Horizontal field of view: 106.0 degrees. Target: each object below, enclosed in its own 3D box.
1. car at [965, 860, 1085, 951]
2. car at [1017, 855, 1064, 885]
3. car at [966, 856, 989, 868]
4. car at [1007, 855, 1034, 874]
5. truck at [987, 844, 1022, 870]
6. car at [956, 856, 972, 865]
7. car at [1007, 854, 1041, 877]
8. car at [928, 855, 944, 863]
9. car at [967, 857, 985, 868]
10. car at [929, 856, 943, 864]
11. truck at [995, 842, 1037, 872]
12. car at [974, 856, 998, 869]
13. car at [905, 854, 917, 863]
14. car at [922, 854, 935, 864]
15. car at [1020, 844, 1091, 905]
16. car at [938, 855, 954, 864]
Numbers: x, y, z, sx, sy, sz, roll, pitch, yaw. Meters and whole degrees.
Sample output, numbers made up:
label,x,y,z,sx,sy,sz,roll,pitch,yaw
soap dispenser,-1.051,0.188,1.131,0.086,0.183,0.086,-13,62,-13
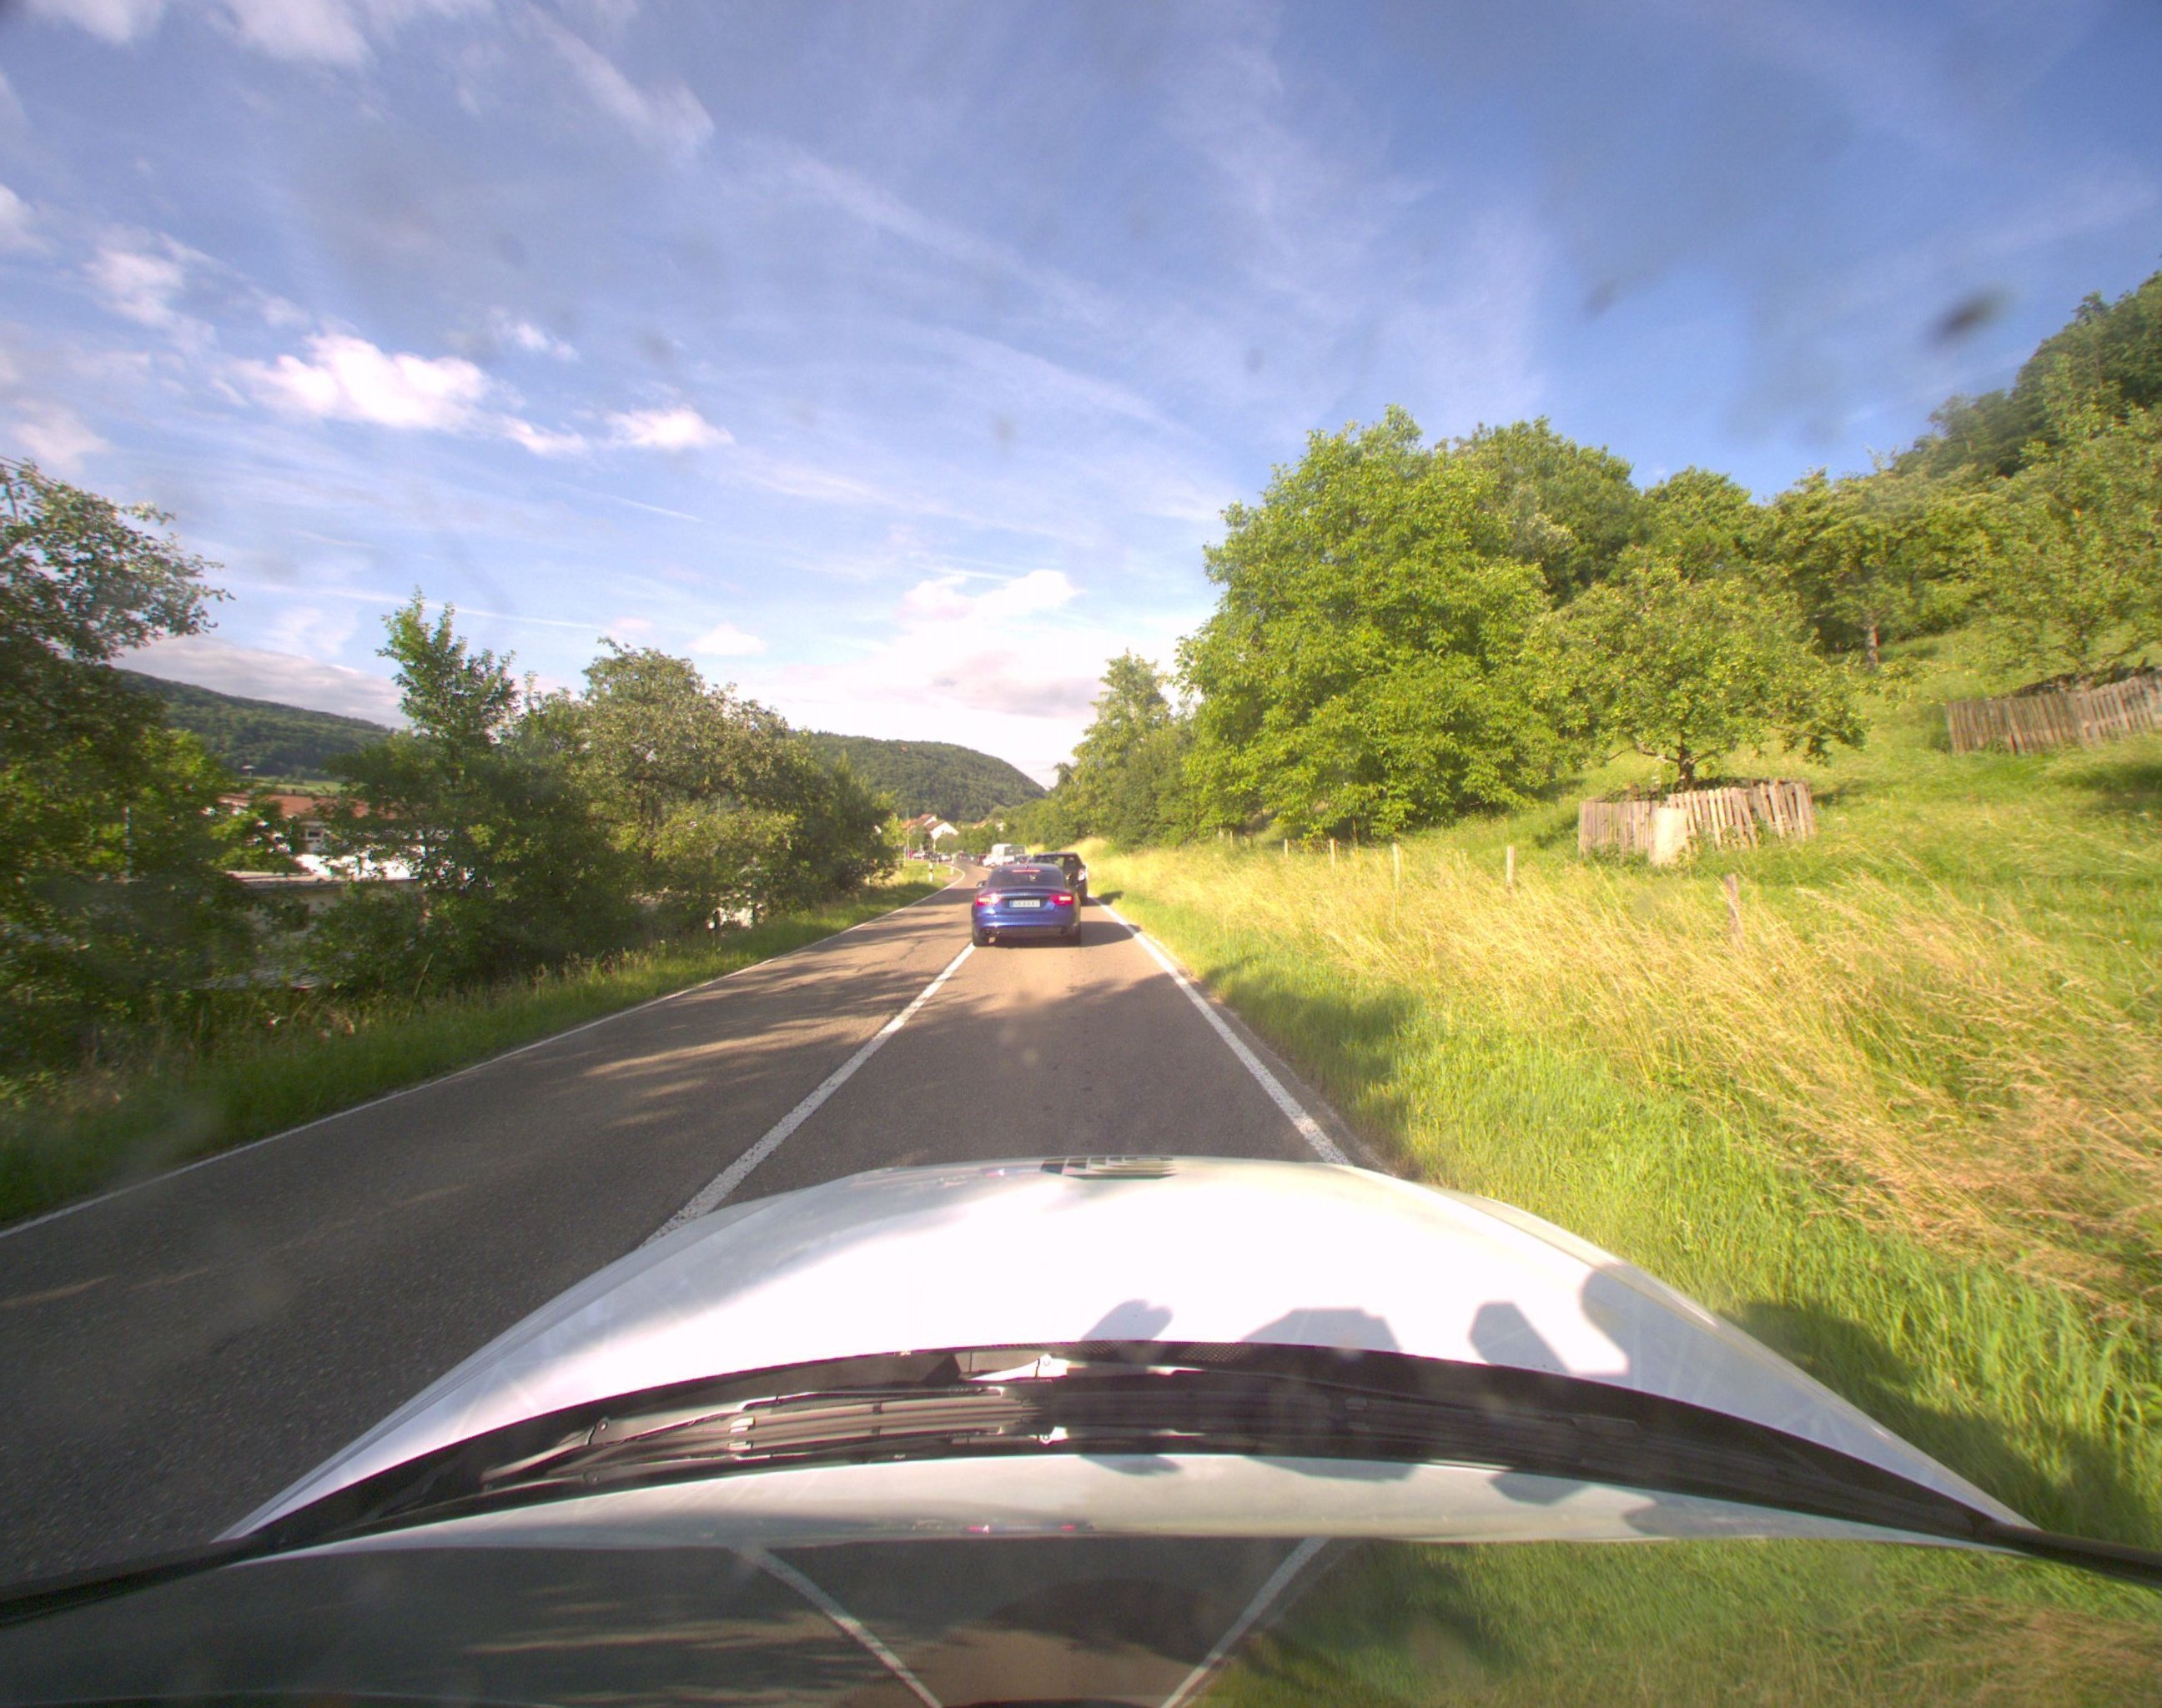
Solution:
label,x,y,z,sx,sy,sz,roll,pitch,yaw
car,-0.867,0.823,14.757,1.787,1.360,4.001,-1,0,1
car,-2.015,0.765,39.703,1.992,1.387,3.990,-1,-1,-7
car,-13.119,1.057,103.273,2.000,1.482,3.972,0,-1,-20
car,-4.961,0.840,66.085,1.992,1.482,3.990,-1,-1,-7
truck,-8.497,0.316,89.027,2.865,2.665,10.605,-1,0,-11
car,-19.044,1.055,132.312,1.998,1.482,3.978,0,-1,-16
car,-3.937,0.793,55.974,1.993,1.482,3.988,-1,-1,-9
car,-24.831,0.861,139.148,2.000,1.376,3.973,0,-1,-20
car,-15.558,1.251,120.842,1.998,1.482,3.978,0,-1,-16
car,-27.905,1.114,156.713,2.002,1.482,3.970,0,-1,-22
truck,-6.312,0.288,77.569,2.865,2.665,10.354,-1,0,-11
car,-11.213,0.996,95.893,2.000,1.482,3.972,0,-1,-20
car,-39.387,1.050,188.544,2.001,2.014,3.971,0,-1,-21
car,-32.105,1.056,170.889,2.001,2.014,3.971,0,-1,-21
car,-0.724,0.599,25.028,1.987,1.702,3.999,-1,-1,0
car,-24.799,1.043,149.370,2.002,1.482,3.970,0,-1,-22
